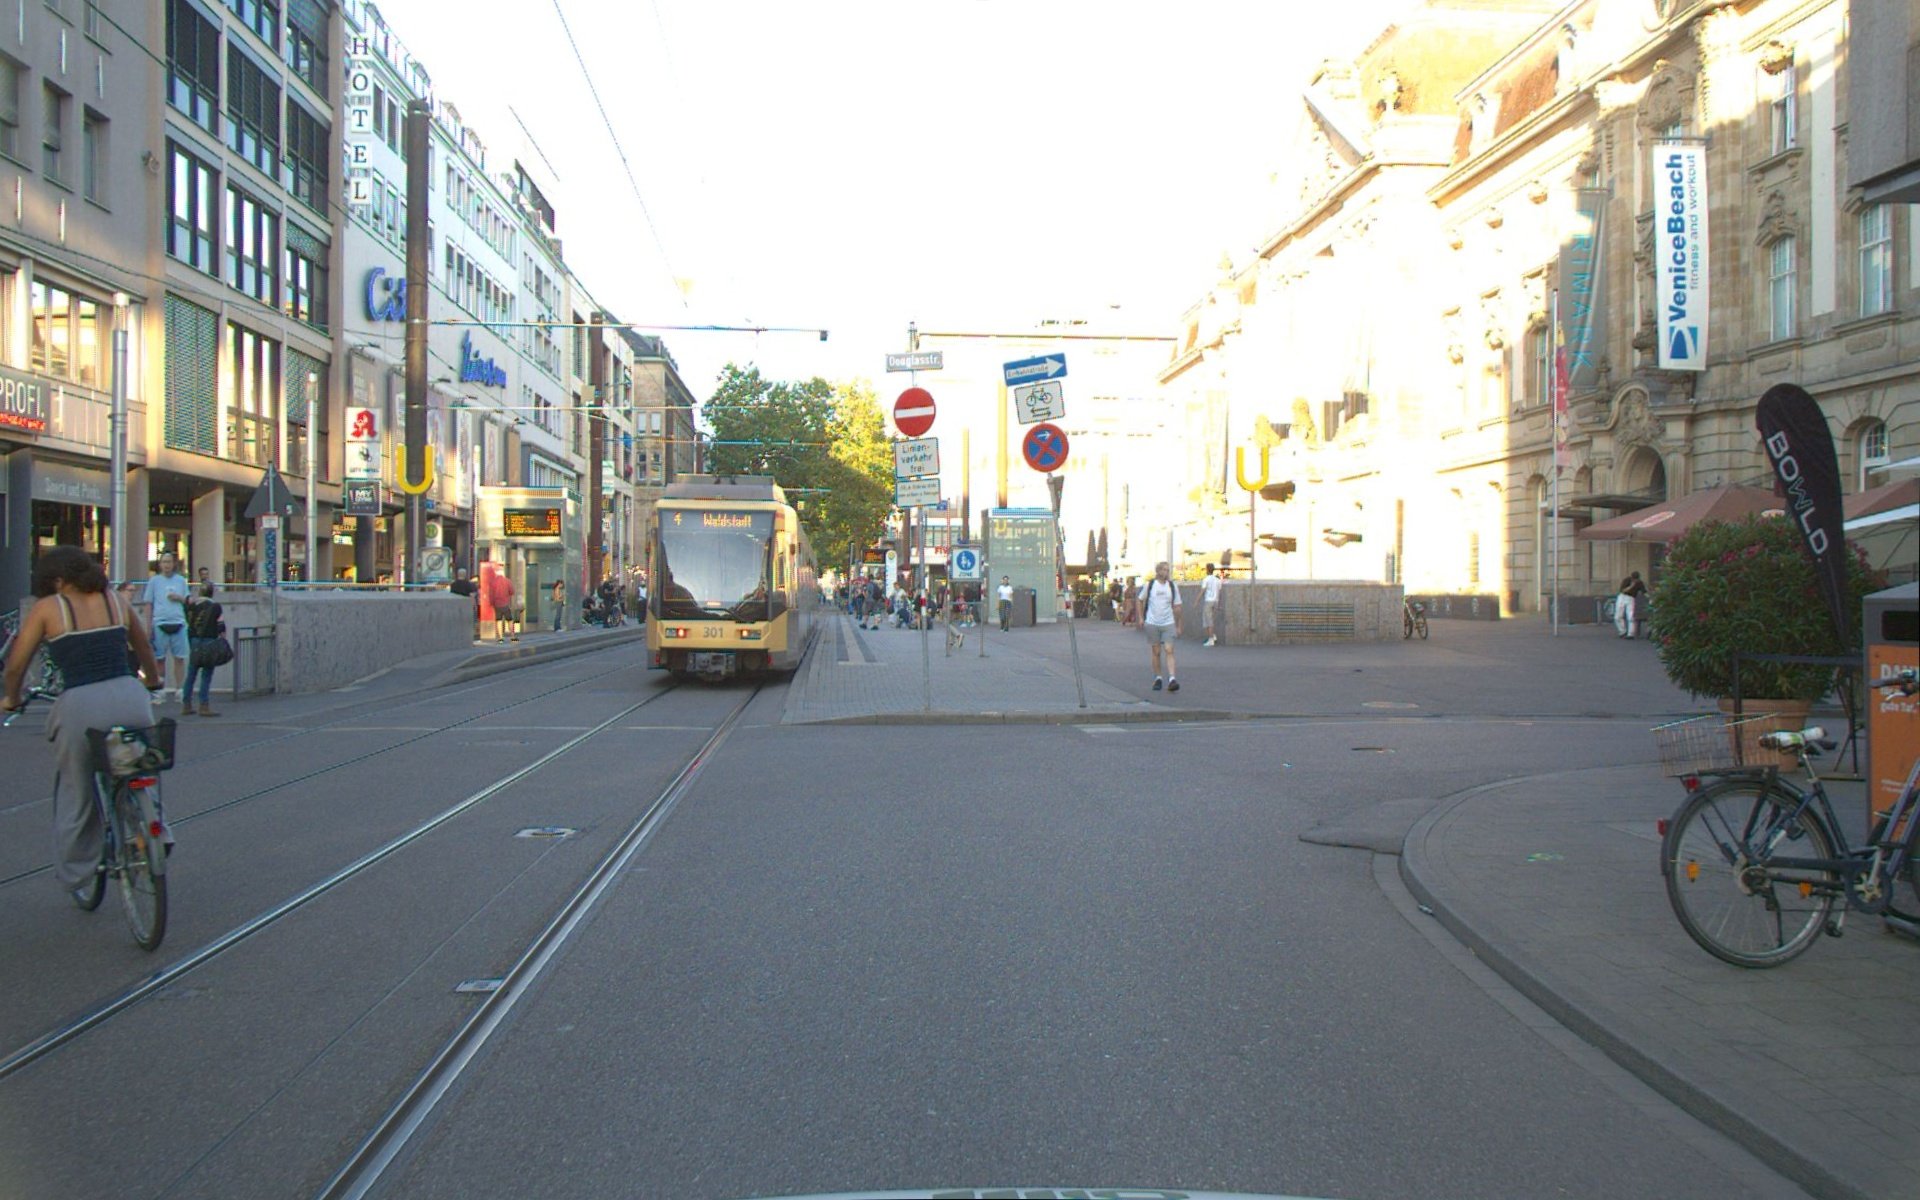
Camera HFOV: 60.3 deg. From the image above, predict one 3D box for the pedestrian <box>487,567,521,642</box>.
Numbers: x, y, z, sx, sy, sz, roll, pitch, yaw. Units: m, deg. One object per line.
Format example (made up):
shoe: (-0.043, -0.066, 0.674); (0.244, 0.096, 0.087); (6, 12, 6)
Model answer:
pedestrian: (-10.674, 0.108, 38.739); (0.700, 1.727, 0.784); (0, -1, -10)

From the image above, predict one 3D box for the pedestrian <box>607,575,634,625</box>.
pedestrian: (-12.003, 0.010, 58.467); (0.701, 1.756, 0.766); (0, -1, -33)

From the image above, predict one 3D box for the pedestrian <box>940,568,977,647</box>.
pedestrian: (-0.033, 0.173, 37.001); (0.705, 1.756, 0.707); (0, -1, -11)

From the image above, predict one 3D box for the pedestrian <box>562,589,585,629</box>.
pedestrian: (-13.639, 0.314, 58.405); (0.693, 1.403, 0.719); (0, -1, -5)

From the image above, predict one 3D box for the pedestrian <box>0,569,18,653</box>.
pedestrian: (-20.556, 0.238, 35.146); (0.700, 1.756, 0.708); (0, -1, -6)

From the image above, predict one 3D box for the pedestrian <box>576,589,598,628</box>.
pedestrian: (-13.635, 0.318, 60.511); (0.693, 1.403, 0.719); (0, -1, -5)

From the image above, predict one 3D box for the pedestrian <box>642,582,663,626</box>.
pedestrian: (-12.278, 0.177, 66.099); (0.758, 1.756, 0.709); (0, -1, -5)

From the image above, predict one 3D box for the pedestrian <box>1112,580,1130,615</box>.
pedestrian: (8.565, -0.122, 88.115); (0.758, 1.856, 0.849); (0, 0, -7)

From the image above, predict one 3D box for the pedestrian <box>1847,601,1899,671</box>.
pedestrian: (17.131, 0.663, 31.045); (0.602, 1.247, 0.701); (1, 2, 10)

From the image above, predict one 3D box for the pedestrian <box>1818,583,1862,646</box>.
pedestrian: (19.161, 0.305, 36.023); (0.581, 1.331, 0.581); (1, 2, -9)

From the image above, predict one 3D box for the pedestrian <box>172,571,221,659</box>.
pedestrian: (-15.388, 0.298, 33.352); (0.700, 1.756, 0.708); (0, -1, -6)

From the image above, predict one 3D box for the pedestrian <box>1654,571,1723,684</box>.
pedestrian: (12.115, 0.445, 27.531); (0.792, 1.855, 0.806); (0, 1, 0)

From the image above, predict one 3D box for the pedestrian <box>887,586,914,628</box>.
pedestrian: (-2.242, 0.260, 62.656); (0.751, 1.606, 0.794); (0, 0, 25)

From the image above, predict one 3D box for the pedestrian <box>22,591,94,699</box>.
pedestrian: (-12.311, 0.607, 22.585); (0.544, 1.459, 0.683); (-1, -1, 33)

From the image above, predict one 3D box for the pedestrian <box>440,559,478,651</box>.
pedestrian: (-10.773, 0.107, 35.581); (0.700, 1.959, 0.708); (0, -1, -9)

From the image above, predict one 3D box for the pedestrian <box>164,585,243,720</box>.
pedestrian: (-8.973, 0.617, 19.636); (0.671, 1.569, 0.605); (0, -1, -5)

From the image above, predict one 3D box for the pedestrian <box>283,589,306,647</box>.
pedestrian: (-18.108, 0.484, 45.021); (0.499, 1.574, 0.516); (0, -1, -12)

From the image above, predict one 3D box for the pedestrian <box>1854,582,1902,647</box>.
pedestrian: (19.354, 0.294, 34.884); (0.596, 1.331, 0.607); (1, 2, -9)

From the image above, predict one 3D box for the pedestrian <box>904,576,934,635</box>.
pedestrian: (-1.286, 0.171, 51.845); (0.722, 1.855, 0.815); (0, 0, -19)

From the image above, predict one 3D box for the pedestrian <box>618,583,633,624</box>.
pedestrian: (-14.461, 0.169, 71.498); (0.590, 1.757, 0.606); (0, -1, -11)

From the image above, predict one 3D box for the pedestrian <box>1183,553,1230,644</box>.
pedestrian: (5.673, -0.035, 38.032); (0.896, 2.049, 0.772); (1, 0, 23)

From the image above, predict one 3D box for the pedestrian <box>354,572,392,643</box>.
pedestrian: (-13.589, 0.178, 38.275); (0.595, 1.616, 0.624); (-1, -1, 43)

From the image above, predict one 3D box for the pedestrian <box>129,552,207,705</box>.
pedestrian: (-10.320, 0.370, 21.579); (0.759, 1.960, 0.707); (0, -1, -12)

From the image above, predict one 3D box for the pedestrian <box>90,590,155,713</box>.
pedestrian: (-10.468, 0.635, 20.691); (0.593, 1.520, 0.554); (0, -1, -12)

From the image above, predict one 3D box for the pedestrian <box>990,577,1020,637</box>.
pedestrian: (1.416, 0.216, 51.915); (0.758, 1.855, 0.938); (-1, 0, -8)

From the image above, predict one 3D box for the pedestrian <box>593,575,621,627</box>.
pedestrian: (-12.123, 0.028, 56.744); (0.701, 1.756, 0.766); (0, -1, -35)

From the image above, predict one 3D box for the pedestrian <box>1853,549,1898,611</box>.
pedestrian: (19.855, -0.440, 35.877); (0.580, 1.331, 0.581); (1, 2, -6)

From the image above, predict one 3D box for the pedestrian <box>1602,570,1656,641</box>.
pedestrian: (15.330, 0.127, 37.918); (0.831, 1.593, 0.849); (0, 2, -8)

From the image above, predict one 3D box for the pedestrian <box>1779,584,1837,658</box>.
pedestrian: (16.573, 0.401, 32.355); (0.786, 1.407, 0.653); (1, 2, 6)

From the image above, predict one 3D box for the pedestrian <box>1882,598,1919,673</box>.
pedestrian: (17.049, 0.632, 29.504); (0.762, 1.264, 0.829); (1, 3, 9)

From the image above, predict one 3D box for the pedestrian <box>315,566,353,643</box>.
pedestrian: (-14.360, 0.108, 37.929); (0.594, 1.756, 0.624); (-1, -1, 42)
